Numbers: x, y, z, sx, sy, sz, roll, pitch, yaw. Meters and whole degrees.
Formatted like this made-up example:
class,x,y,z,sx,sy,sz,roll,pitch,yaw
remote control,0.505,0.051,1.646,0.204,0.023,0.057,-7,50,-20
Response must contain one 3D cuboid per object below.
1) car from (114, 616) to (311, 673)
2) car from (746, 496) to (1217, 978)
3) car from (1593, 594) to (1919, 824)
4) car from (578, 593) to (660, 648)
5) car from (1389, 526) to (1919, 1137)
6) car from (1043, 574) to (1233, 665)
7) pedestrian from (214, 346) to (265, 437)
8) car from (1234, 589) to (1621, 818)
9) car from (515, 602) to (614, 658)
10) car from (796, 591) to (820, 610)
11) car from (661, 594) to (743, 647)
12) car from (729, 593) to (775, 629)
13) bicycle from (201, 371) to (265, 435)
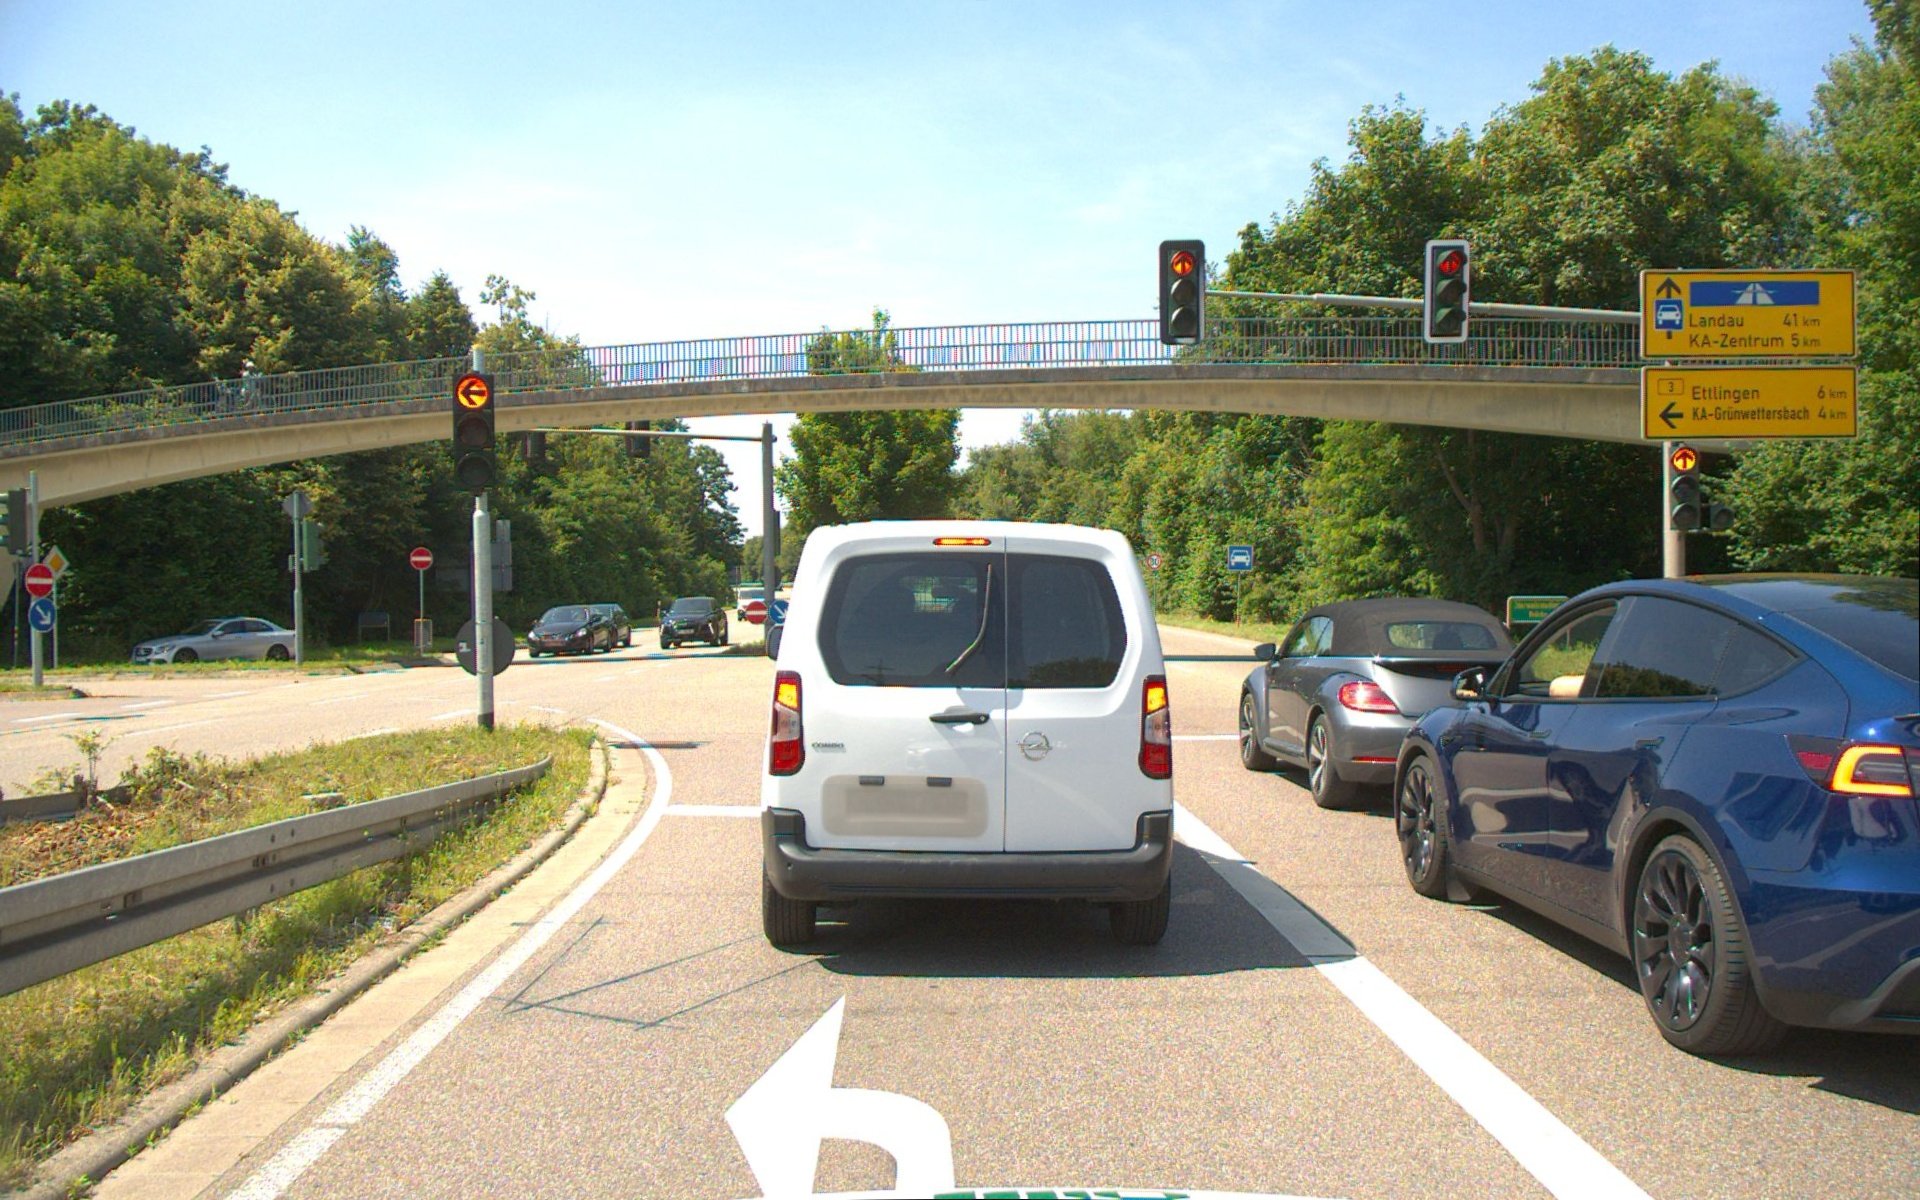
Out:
class,x,y,z,sx,sy,sz,roll,pitch,yaw
car,-20.985,1.230,46.628,1.958,1.397,4.769,-1,0,32
car,0.028,0.506,8.427,1.812,1.857,3.980,1,1,-2
car,6.825,0.722,13.125,1.862,1.503,4.379,1,0,-1
car,-11.367,0.655,55.401,1.953,1.694,3.999,-1,0,-1
car,3.322,0.632,6.813,1.862,1.673,4.519,1,0,-1
car,3.989,0.389,36.236,2.006,1.728,5.072,-3,0,33
pedestrian,-18.668,-5.398,42.875,0.765,2.177,0.932,-3,-2,15
car,3.454,0.681,13.018,1.862,1.503,3.938,1,0,-1
car,-11.607,0.857,48.827,1.967,1.486,4.054,-2,0,-1
car,-16.627,0.045,180.828,2.163,2.028,4.733,-2,0,-1
car,-8.006,0.615,51.637,1.953,1.550,4.027,1,0,-1
car,-12.771,0.651,102.041,2.163,2.028,5.487,-2,0,-1
bicycle,-18.727,-5.064,42.607,1.494,1.500,0.470,-3,-2,15
